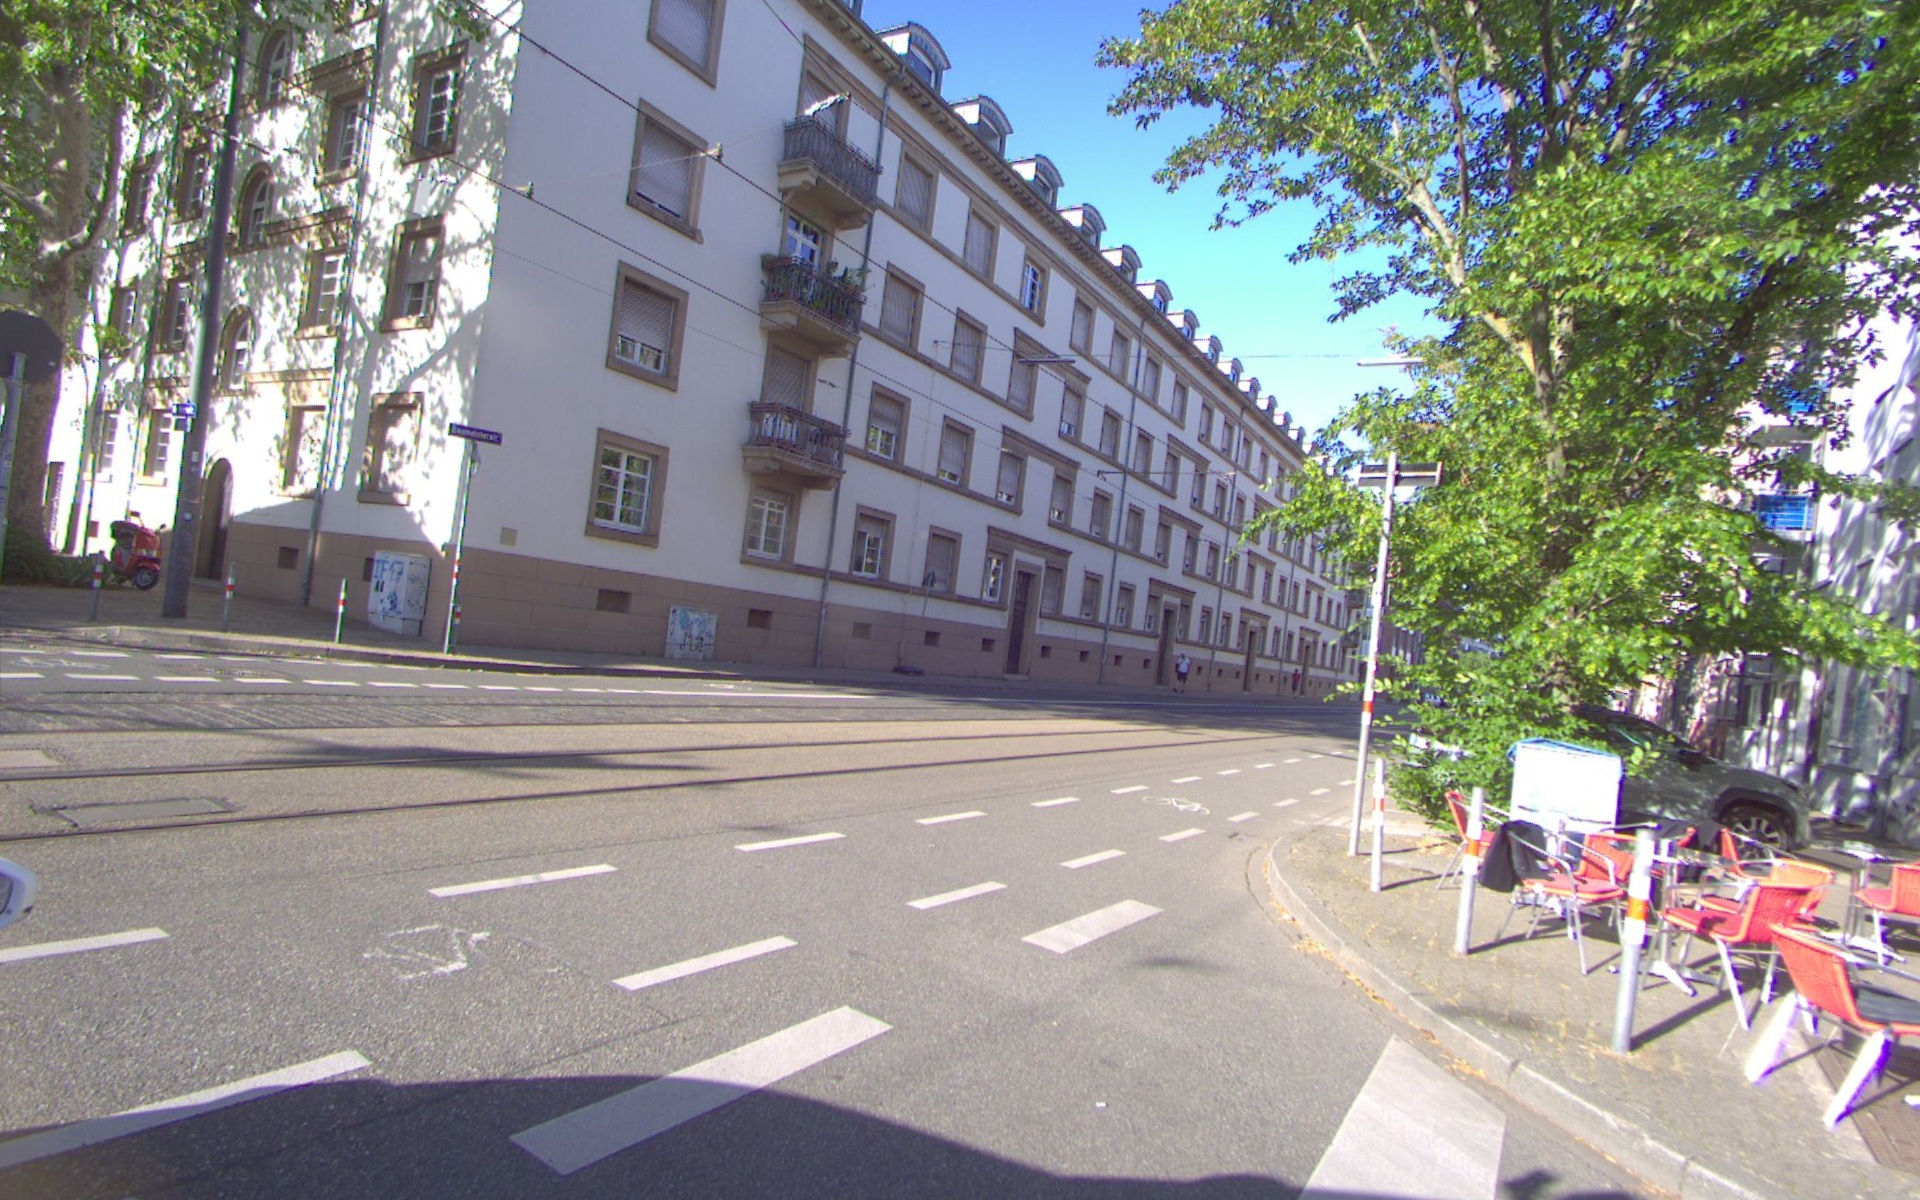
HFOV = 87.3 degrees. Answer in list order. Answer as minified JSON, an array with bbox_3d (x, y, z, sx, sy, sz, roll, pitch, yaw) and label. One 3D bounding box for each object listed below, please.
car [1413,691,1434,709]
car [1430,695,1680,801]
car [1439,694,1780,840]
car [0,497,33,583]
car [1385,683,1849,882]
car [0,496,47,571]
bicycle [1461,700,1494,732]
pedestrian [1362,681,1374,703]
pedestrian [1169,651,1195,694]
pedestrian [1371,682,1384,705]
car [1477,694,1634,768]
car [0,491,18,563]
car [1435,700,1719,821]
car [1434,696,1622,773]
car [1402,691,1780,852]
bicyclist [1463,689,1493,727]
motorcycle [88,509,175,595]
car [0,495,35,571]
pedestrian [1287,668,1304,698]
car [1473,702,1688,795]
[{"bbox_3d":[53.881,11.617,116.896,1.858,1.702,4.391,6,-3,29],"label":"car"},{"bbox_3d":[12.109,2.977,20.759,4.058,1.506,1.621,5,-1,18],"label":"car"},{"bbox_3d":[9.968,2.531,15.766,4.056,1.574,1.621,6,-1,13],"label":"car"},{"bbox_3d":[-19.840,-1.416,17.933,1.699,1.589,4.470,7,-2,31],"label":"car"},{"bbox_3d":[7.322,1.991,11.588,4.056,1.574,1.621,6,-1,8],"label":"car"},{"bbox_3d":[-23.027,-1.760,21.762,1.699,1.589,4.470,7,-2,31],"label":"car"},{"bbox_3d":[21.910,4.890,42.554,0.887,1.178,3.243,7,-2,32],"label":"bicycle"},{"bbox_3d":[35.524,7.998,87.571,0.726,1.859,0.695,7,0,31],"label":"pedestrian"},{"bbox_3d":[10.121,3.322,45.889,0.726,1.859,0.695,7,0,31],"label":"pedestrian"},{"bbox_3d":[36.183,8.130,87.174,0.726,1.859,0.695,7,0,31],"label":"pedestrian"},{"bbox_3d":[20.127,4.409,34.127,4.059,1.910,1.889,6,-1,0],"label":"car"},{"bbox_3d":[-24.745,-2.023,22.856,1.699,1.690,4.470,7,-2,31],"label":"car"},{"bbox_3d":[11.083,2.845,18.397,4.058,1.506,1.621,5,-1,19],"label":"car"},{"bbox_3d":[15.272,3.611,27.193,4.059,1.506,1.620,6,-1,0],"label":"car"},{"bbox_3d":[8.525,2.288,13.827,4.059,1.574,1.620,6,-1,0],"label":"car"},{"bbox_3d":[21.867,4.559,42.419,0.887,1.471,1.261,7,-1,32],"label":"bicyclist"},{"bbox_3d":[-14.948,-0.870,18.130,1.733,1.348,0.515,7,-1,30],"label":"motorcycle"},{"bbox_3d":[-21.505,-1.661,19.800,1.699,1.518,4.470,7,-2,31],"label":"car"},{"bbox_3d":[22.141,5.503,66.372,0.726,1.859,0.695,7,0,31],"label":"pedestrian"},{"bbox_3d":[14.472,3.435,23.748,4.063,1.506,1.619,5,-1,27],"label":"car"}]
